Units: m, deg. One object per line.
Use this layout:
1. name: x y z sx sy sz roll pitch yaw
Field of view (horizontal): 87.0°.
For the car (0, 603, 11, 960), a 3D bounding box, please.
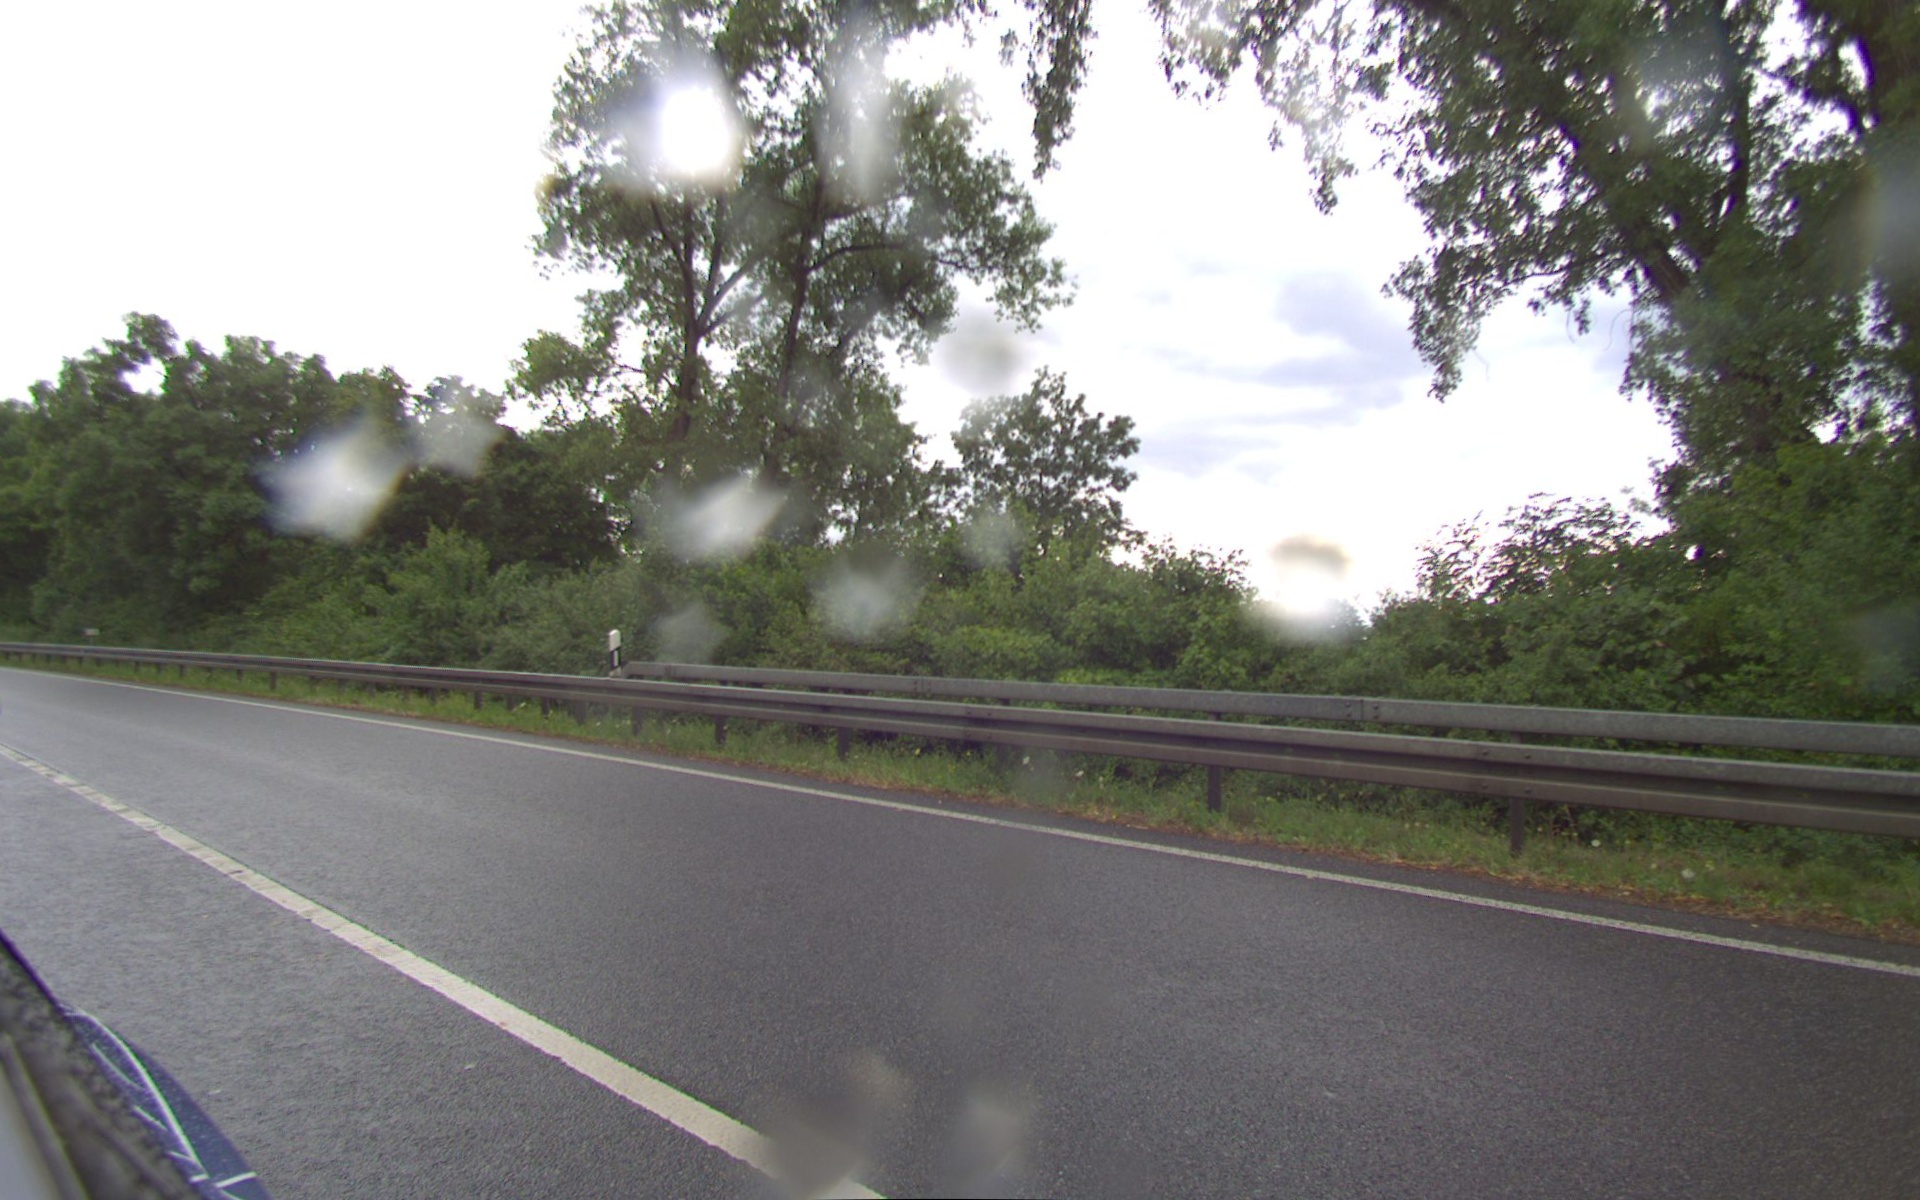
1. car: -6.073 0.792 4.941 4.060 1.491 1.679 -1 -1 41
